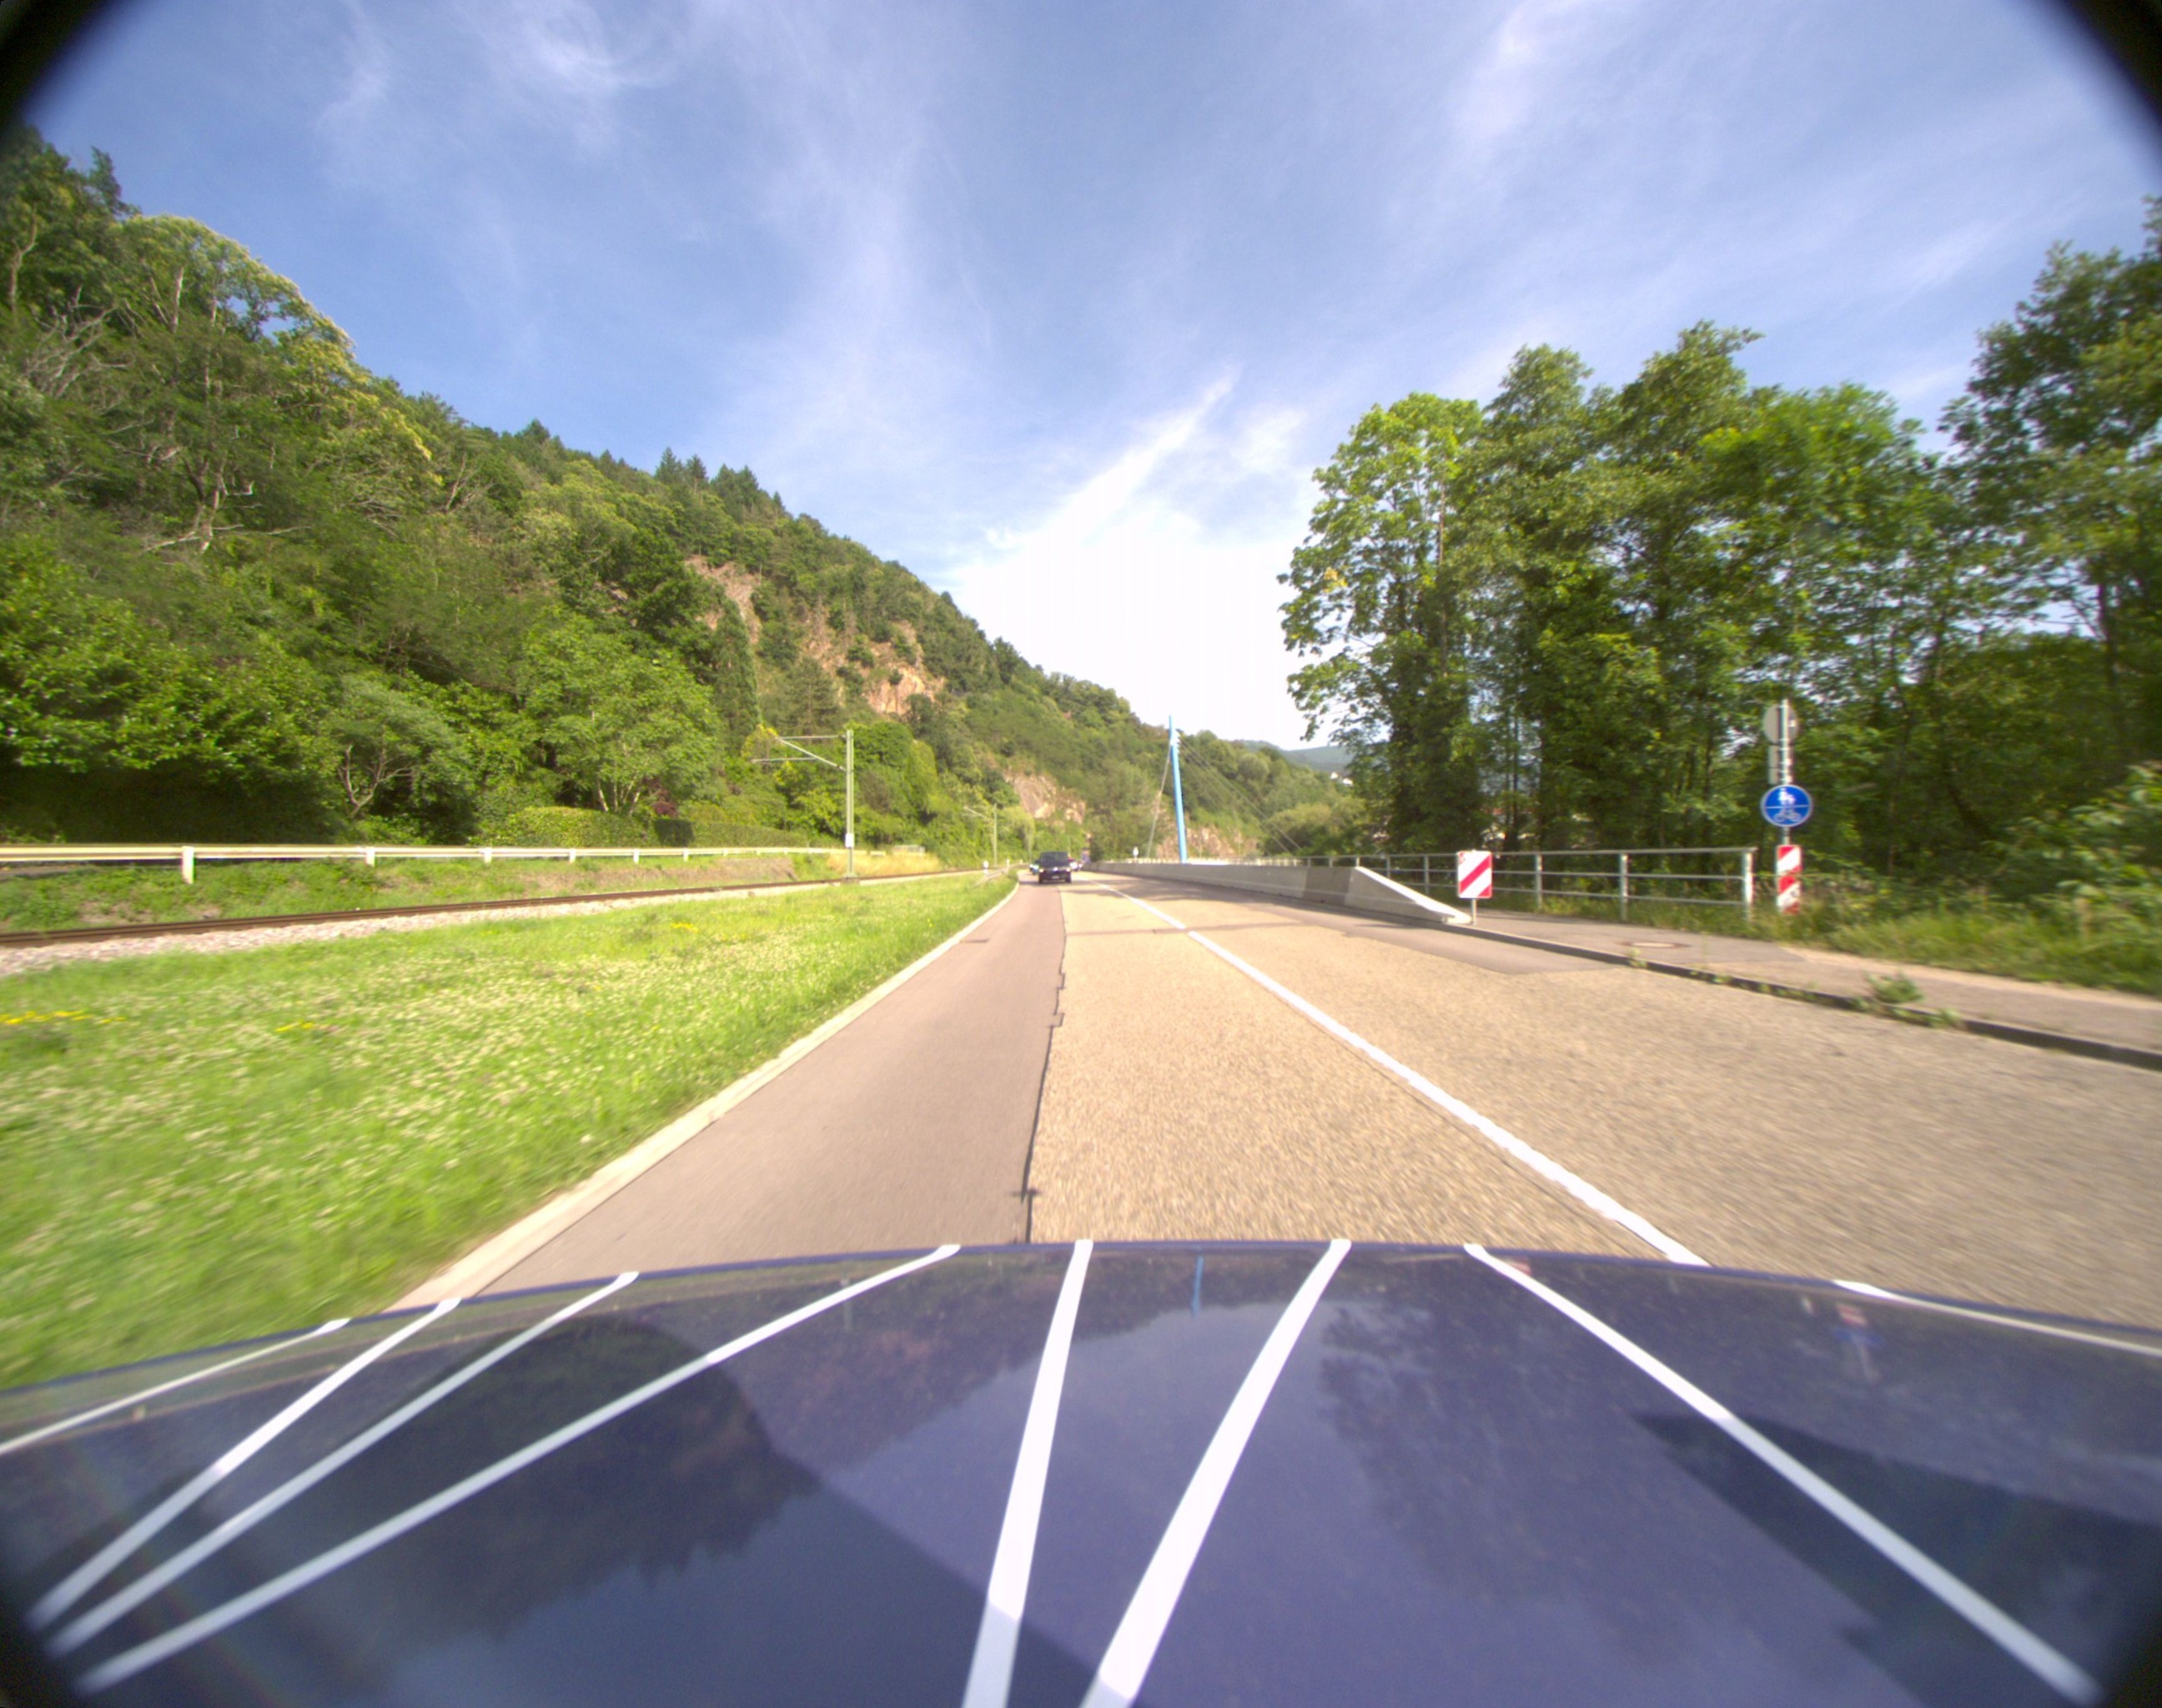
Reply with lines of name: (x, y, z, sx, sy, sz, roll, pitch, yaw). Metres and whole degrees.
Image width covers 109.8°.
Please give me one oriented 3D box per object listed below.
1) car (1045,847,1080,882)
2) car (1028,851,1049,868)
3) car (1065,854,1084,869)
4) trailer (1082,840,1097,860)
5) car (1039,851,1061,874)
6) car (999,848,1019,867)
car: (-1.150, 0.642, 45.181, 1.999, 2.001, 4.000, 0, -2, -2)
car: (-5.026, 0.607, 90.532, 1.998, 2.002, 4.001, 1, 0, 3)
car: (-0.731, 0.803, 86.087, 1.999, 1.619, 4.507, -2, 0, -1)
trailer: (1.692, -0.730, 158.250, 2.864, 3.989, 13.669, 1, 0, 0)
car: (-2.883, 0.737, 70.115, 1.999, 2.002, 3.999, 1, 0, -3)
car: (-7.817, 0.413, 82.842, 1.999, 2.002, 3.999, 1, 0, -2)
